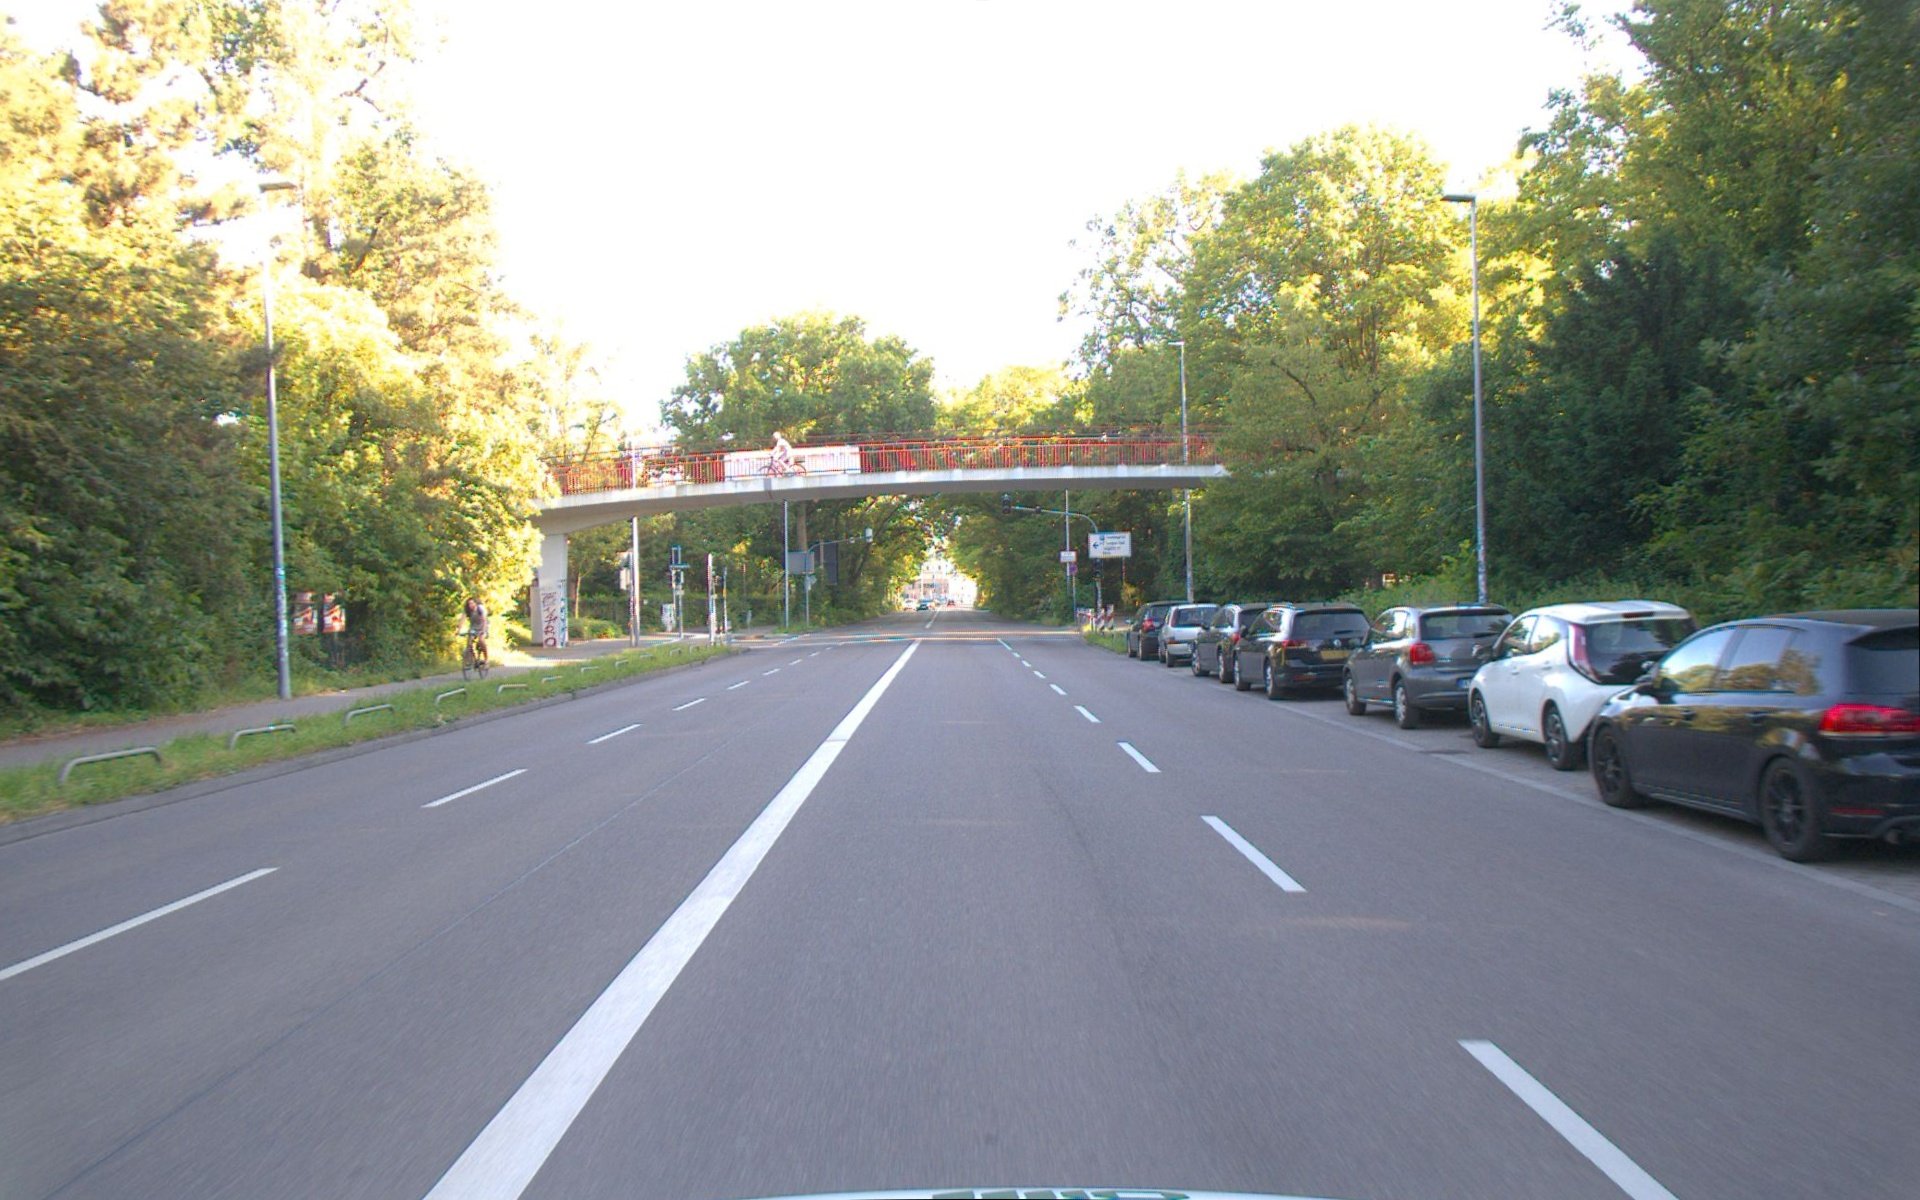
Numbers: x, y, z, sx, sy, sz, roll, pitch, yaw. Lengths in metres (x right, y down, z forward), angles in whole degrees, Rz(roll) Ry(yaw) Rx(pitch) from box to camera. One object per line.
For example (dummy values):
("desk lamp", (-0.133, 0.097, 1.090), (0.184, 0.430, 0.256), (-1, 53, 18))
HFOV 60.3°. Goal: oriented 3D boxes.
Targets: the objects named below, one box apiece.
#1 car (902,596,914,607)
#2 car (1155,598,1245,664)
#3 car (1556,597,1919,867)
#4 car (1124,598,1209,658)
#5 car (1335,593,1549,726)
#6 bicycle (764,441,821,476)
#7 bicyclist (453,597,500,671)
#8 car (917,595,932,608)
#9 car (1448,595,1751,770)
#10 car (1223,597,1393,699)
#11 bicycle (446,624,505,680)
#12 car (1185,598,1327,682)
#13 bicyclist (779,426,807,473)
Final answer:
("car", (-7.701, 0.234, 246.032), (1.761, 1.533, 4.363), (-2, 0, -1))
("car", (5.804, 0.719, 40.403), (1.737, 1.479, 4.015), (-2, 0, 2))
("car", (5.797, 0.727, 11.292), (1.830, 1.431, 4.368), (-2, 0, 0))
("car", (5.545, 0.721, 44.810), (1.738, 1.479, 4.388), (-2, 0, 0))
("car", (6.023, 0.696, 21.118), (1.553, 1.479, 3.943), (-2, 0, 0))
("bicycle", (-5.965, -5.022, 58.913), (1.947, 1.167, 0.714), (0, -1, -2))
("bicyclist", (-10.469, 0.729, 35.848), (0.697, 1.586, 1.142), (0, -1, -1))
("car", (-4.476, 0.200, 210.406), (1.849, 1.533, 4.363), (-2, 0, -1))
("car", (6.190, 0.730, 16.466), (1.553, 1.479, 3.798), (-2, 0, 1))
("car", (5.652, 0.740, 27.476), (1.604, 1.479, 4.896), (-2, 0, -2))
("bicycle", (-10.473, 1.109, 35.830), (0.697, 1.167, 1.993), (0, -1, -1))
("car", (5.781, 0.746, 32.913), (1.738, 1.479, 5.036), (-2, 0, -2))
("bicyclist", (-5.951, -5.361, 58.909), (0.951, 1.614, 0.714), (0, -1, -2))
